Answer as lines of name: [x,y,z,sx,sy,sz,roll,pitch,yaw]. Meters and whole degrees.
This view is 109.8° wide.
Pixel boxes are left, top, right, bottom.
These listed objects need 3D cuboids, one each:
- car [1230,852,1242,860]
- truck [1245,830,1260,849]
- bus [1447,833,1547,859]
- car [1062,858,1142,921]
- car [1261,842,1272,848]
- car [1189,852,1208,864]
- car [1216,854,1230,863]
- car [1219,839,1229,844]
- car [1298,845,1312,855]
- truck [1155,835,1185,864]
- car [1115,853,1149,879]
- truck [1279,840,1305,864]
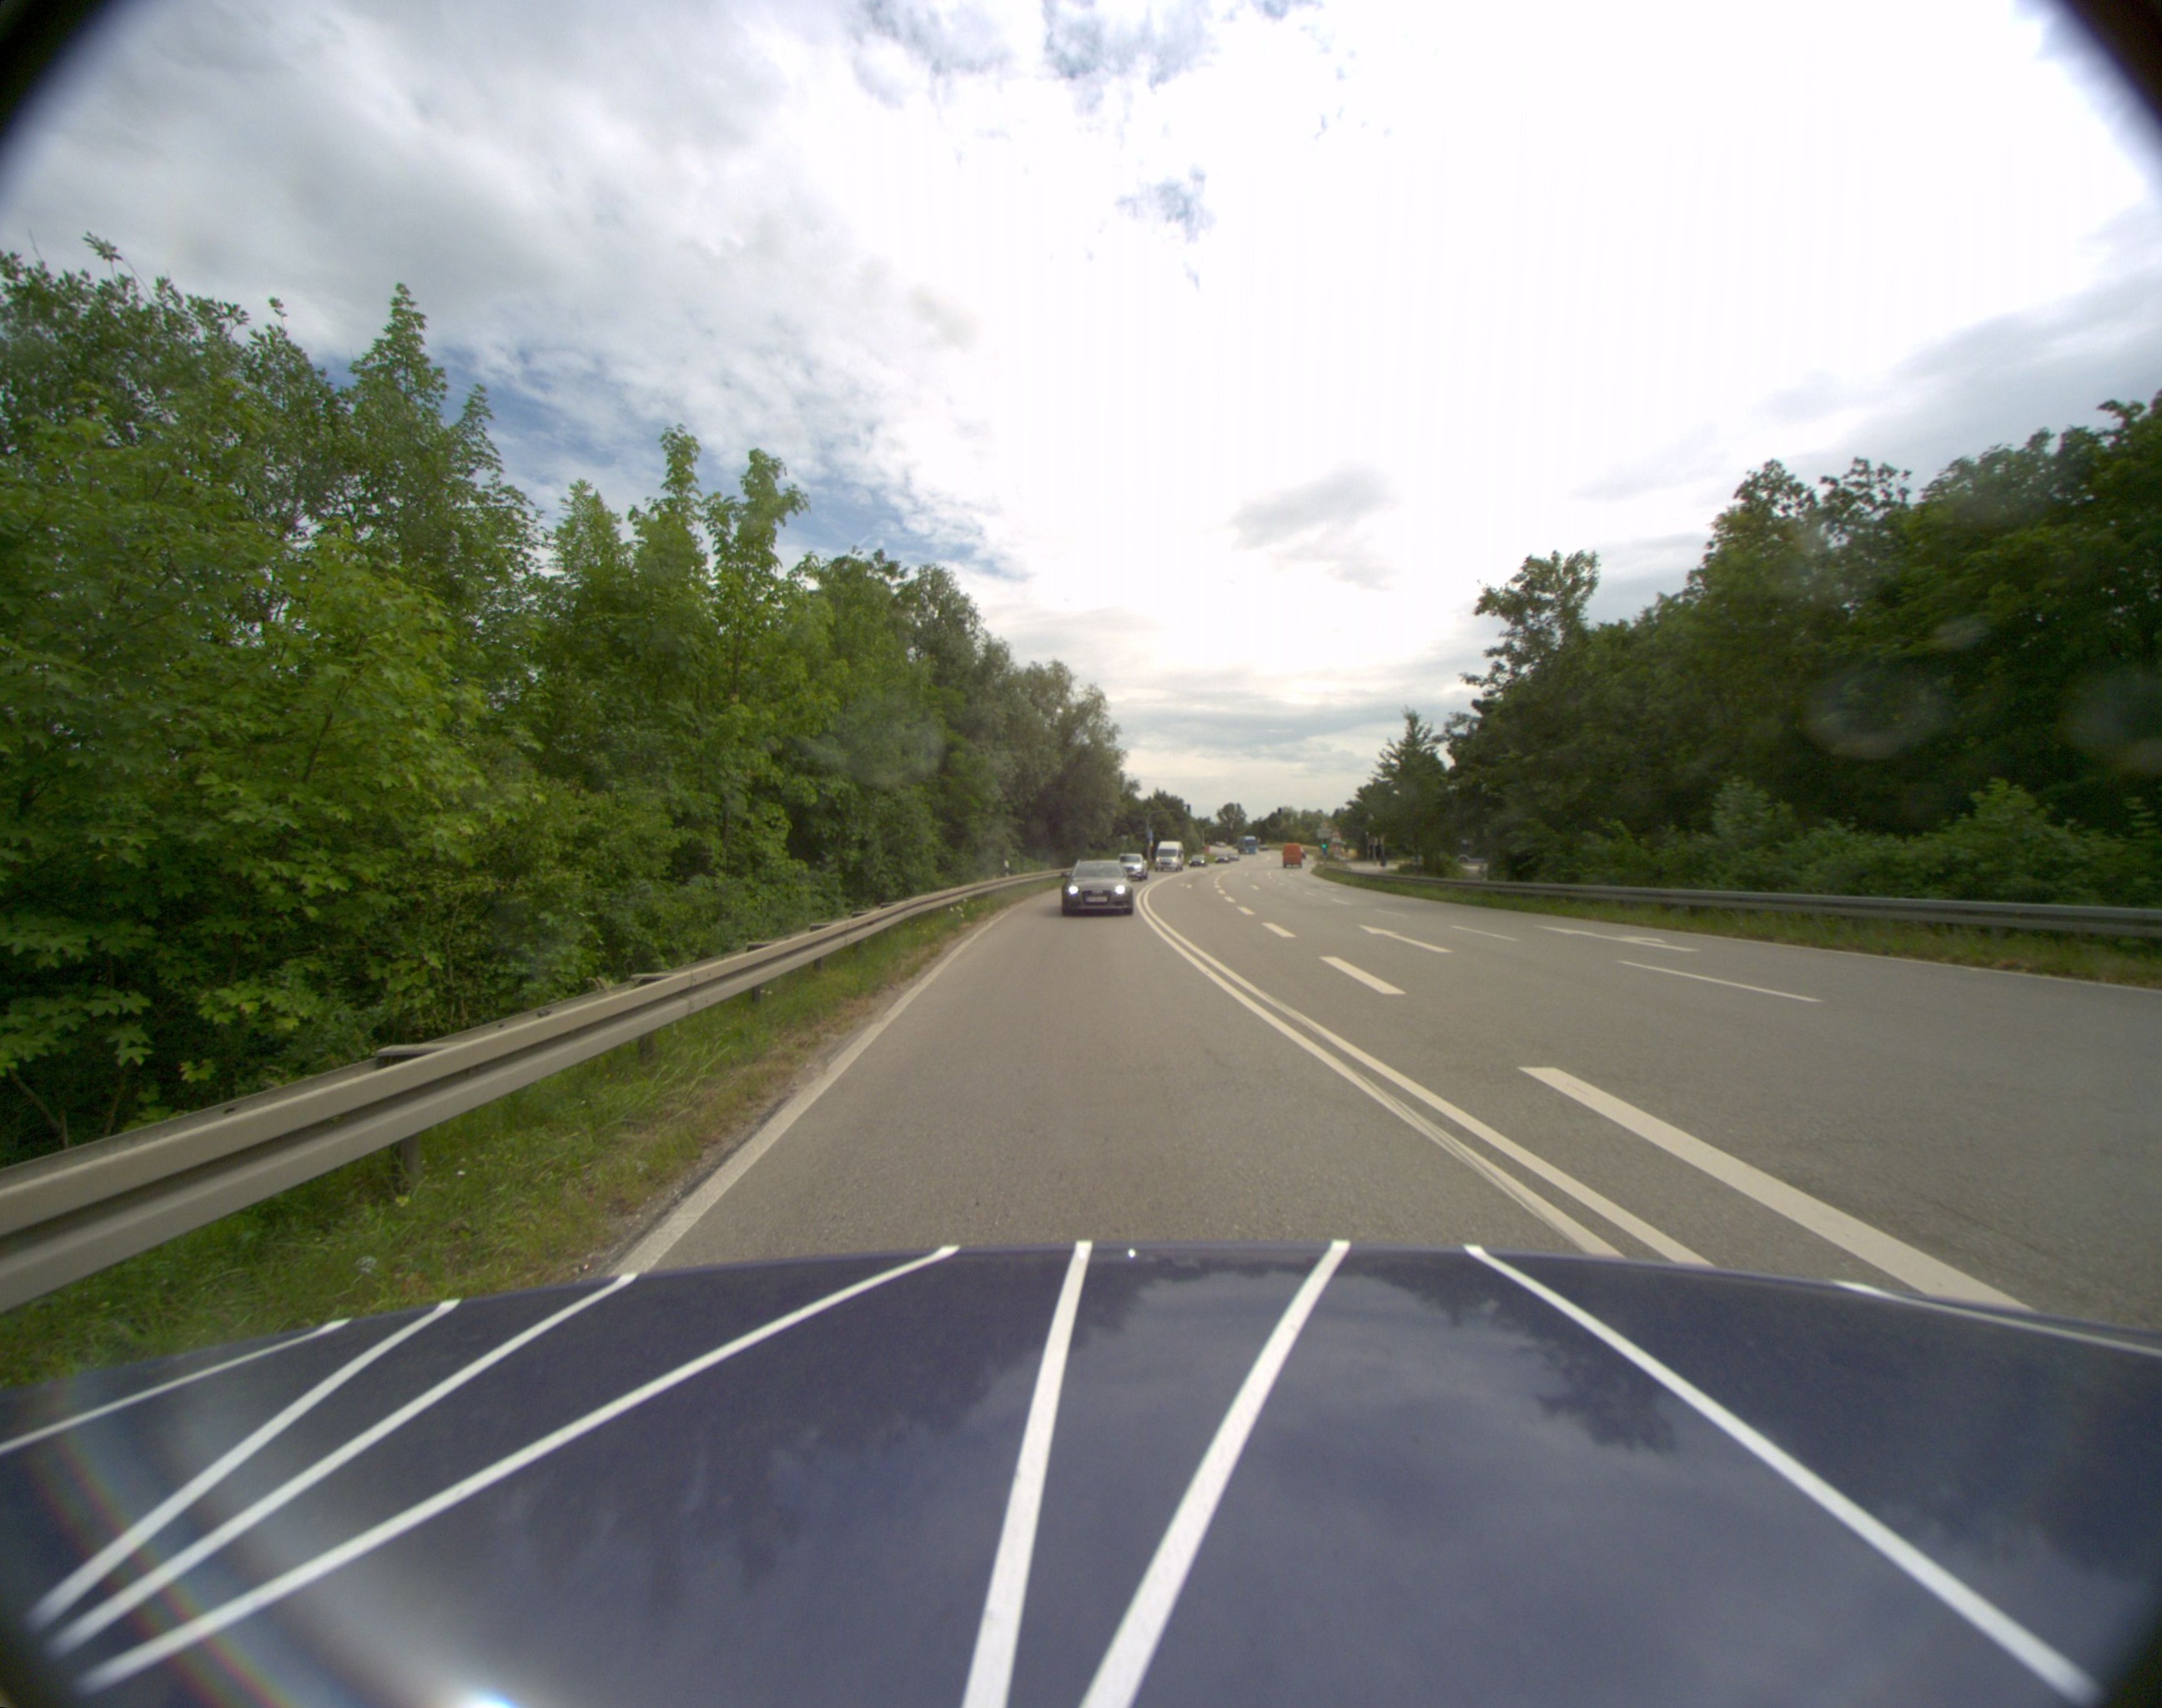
car: [25.309,0.290,124.420,1.743,1.317,4.003,2,1,10]
truck: [39.585,-3.256,175.472,3.024,4.325,9.578,0,1,11]
bus: [49.751,-0.922,91.162,10.060,3.029,3.123,0,1,7]
car: [0.626,0.888,21.152,1.964,1.447,4.797,0,1,2]
car: [47.412,-2.251,194.466,1.744,1.477,4.199,-1,1,0]
car: [13.860,0.499,89.382,1.742,1.317,4.005,2,1,15]
car: [20.932,0.619,111.700,1.742,1.317,4.004,2,1,14]
car: [46.181,-3.931,245.277,1.745,1.477,3.997,-3,1,-7]
car: [35.158,-0.625,119.060,1.719,1.489,4.555,1,0,21]
truck: [8.309,-0.414,70.390,2.377,2.579,6.003,0,1,10]
car: [3.178,0.697,46.557,1.825,1.489,4.226,1,1,7]
truck: [23.331,-0.263,84.205,2.319,2.586,6.028,1,1,12]
